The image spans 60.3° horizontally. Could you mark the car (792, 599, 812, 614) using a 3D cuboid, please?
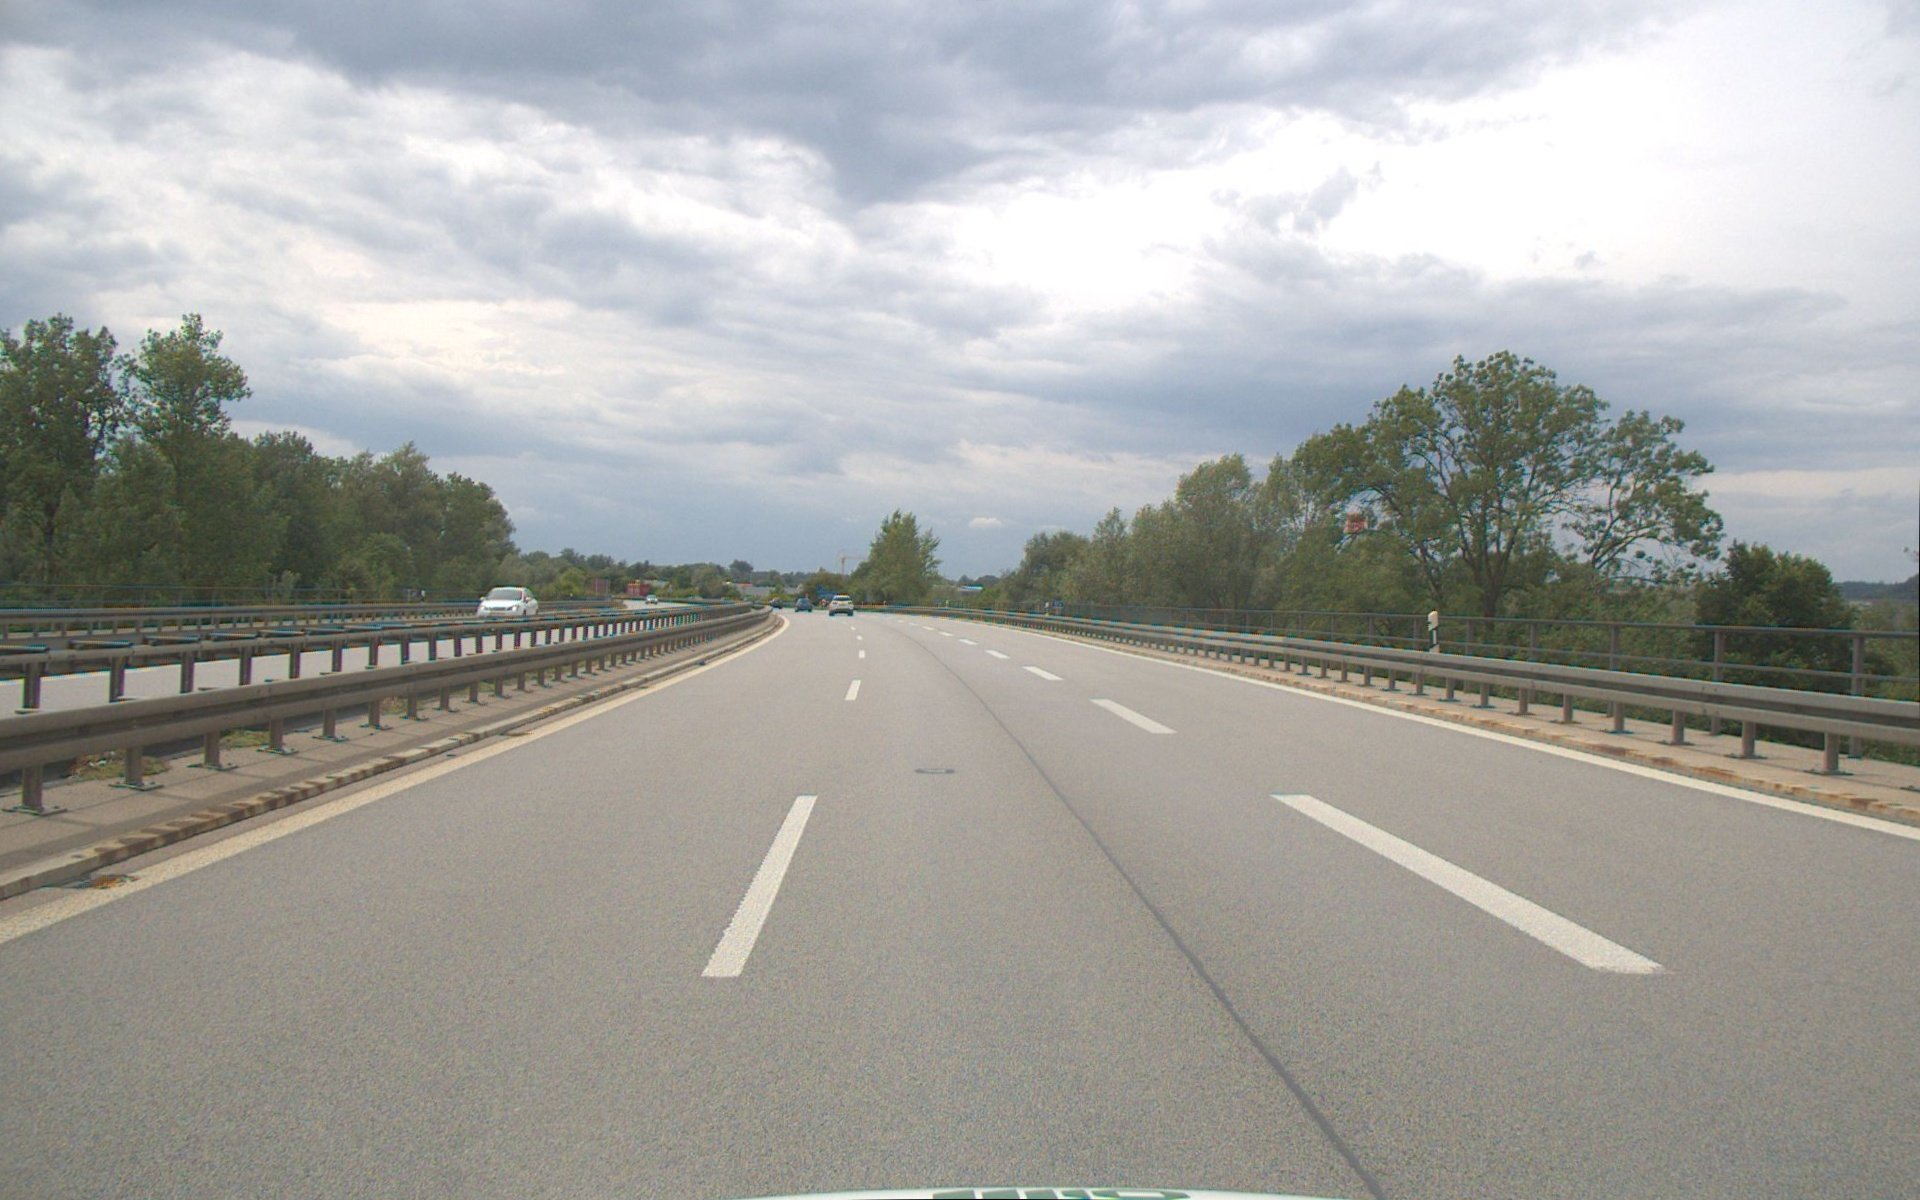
[{"bbox_3d":[-17.692,0.726,184.923,1.857,1.668,4.612,1,0,-9],"label":"car"}]

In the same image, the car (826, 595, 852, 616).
[{"bbox_3d":[-10.066,0.464,137.786,1.866,1.668,4.388,2,0,-7],"label":"car"}]

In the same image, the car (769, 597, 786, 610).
[{"bbox_3d":[-25.055,0.465,226.738,1.868,1.668,4.766,2,0,-11],"label":"car"}]

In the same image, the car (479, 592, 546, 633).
[{"bbox_3d":[-16.586,0.442,61.461,1.501,1.431,4.326,1,0,-3],"label":"car"}]
